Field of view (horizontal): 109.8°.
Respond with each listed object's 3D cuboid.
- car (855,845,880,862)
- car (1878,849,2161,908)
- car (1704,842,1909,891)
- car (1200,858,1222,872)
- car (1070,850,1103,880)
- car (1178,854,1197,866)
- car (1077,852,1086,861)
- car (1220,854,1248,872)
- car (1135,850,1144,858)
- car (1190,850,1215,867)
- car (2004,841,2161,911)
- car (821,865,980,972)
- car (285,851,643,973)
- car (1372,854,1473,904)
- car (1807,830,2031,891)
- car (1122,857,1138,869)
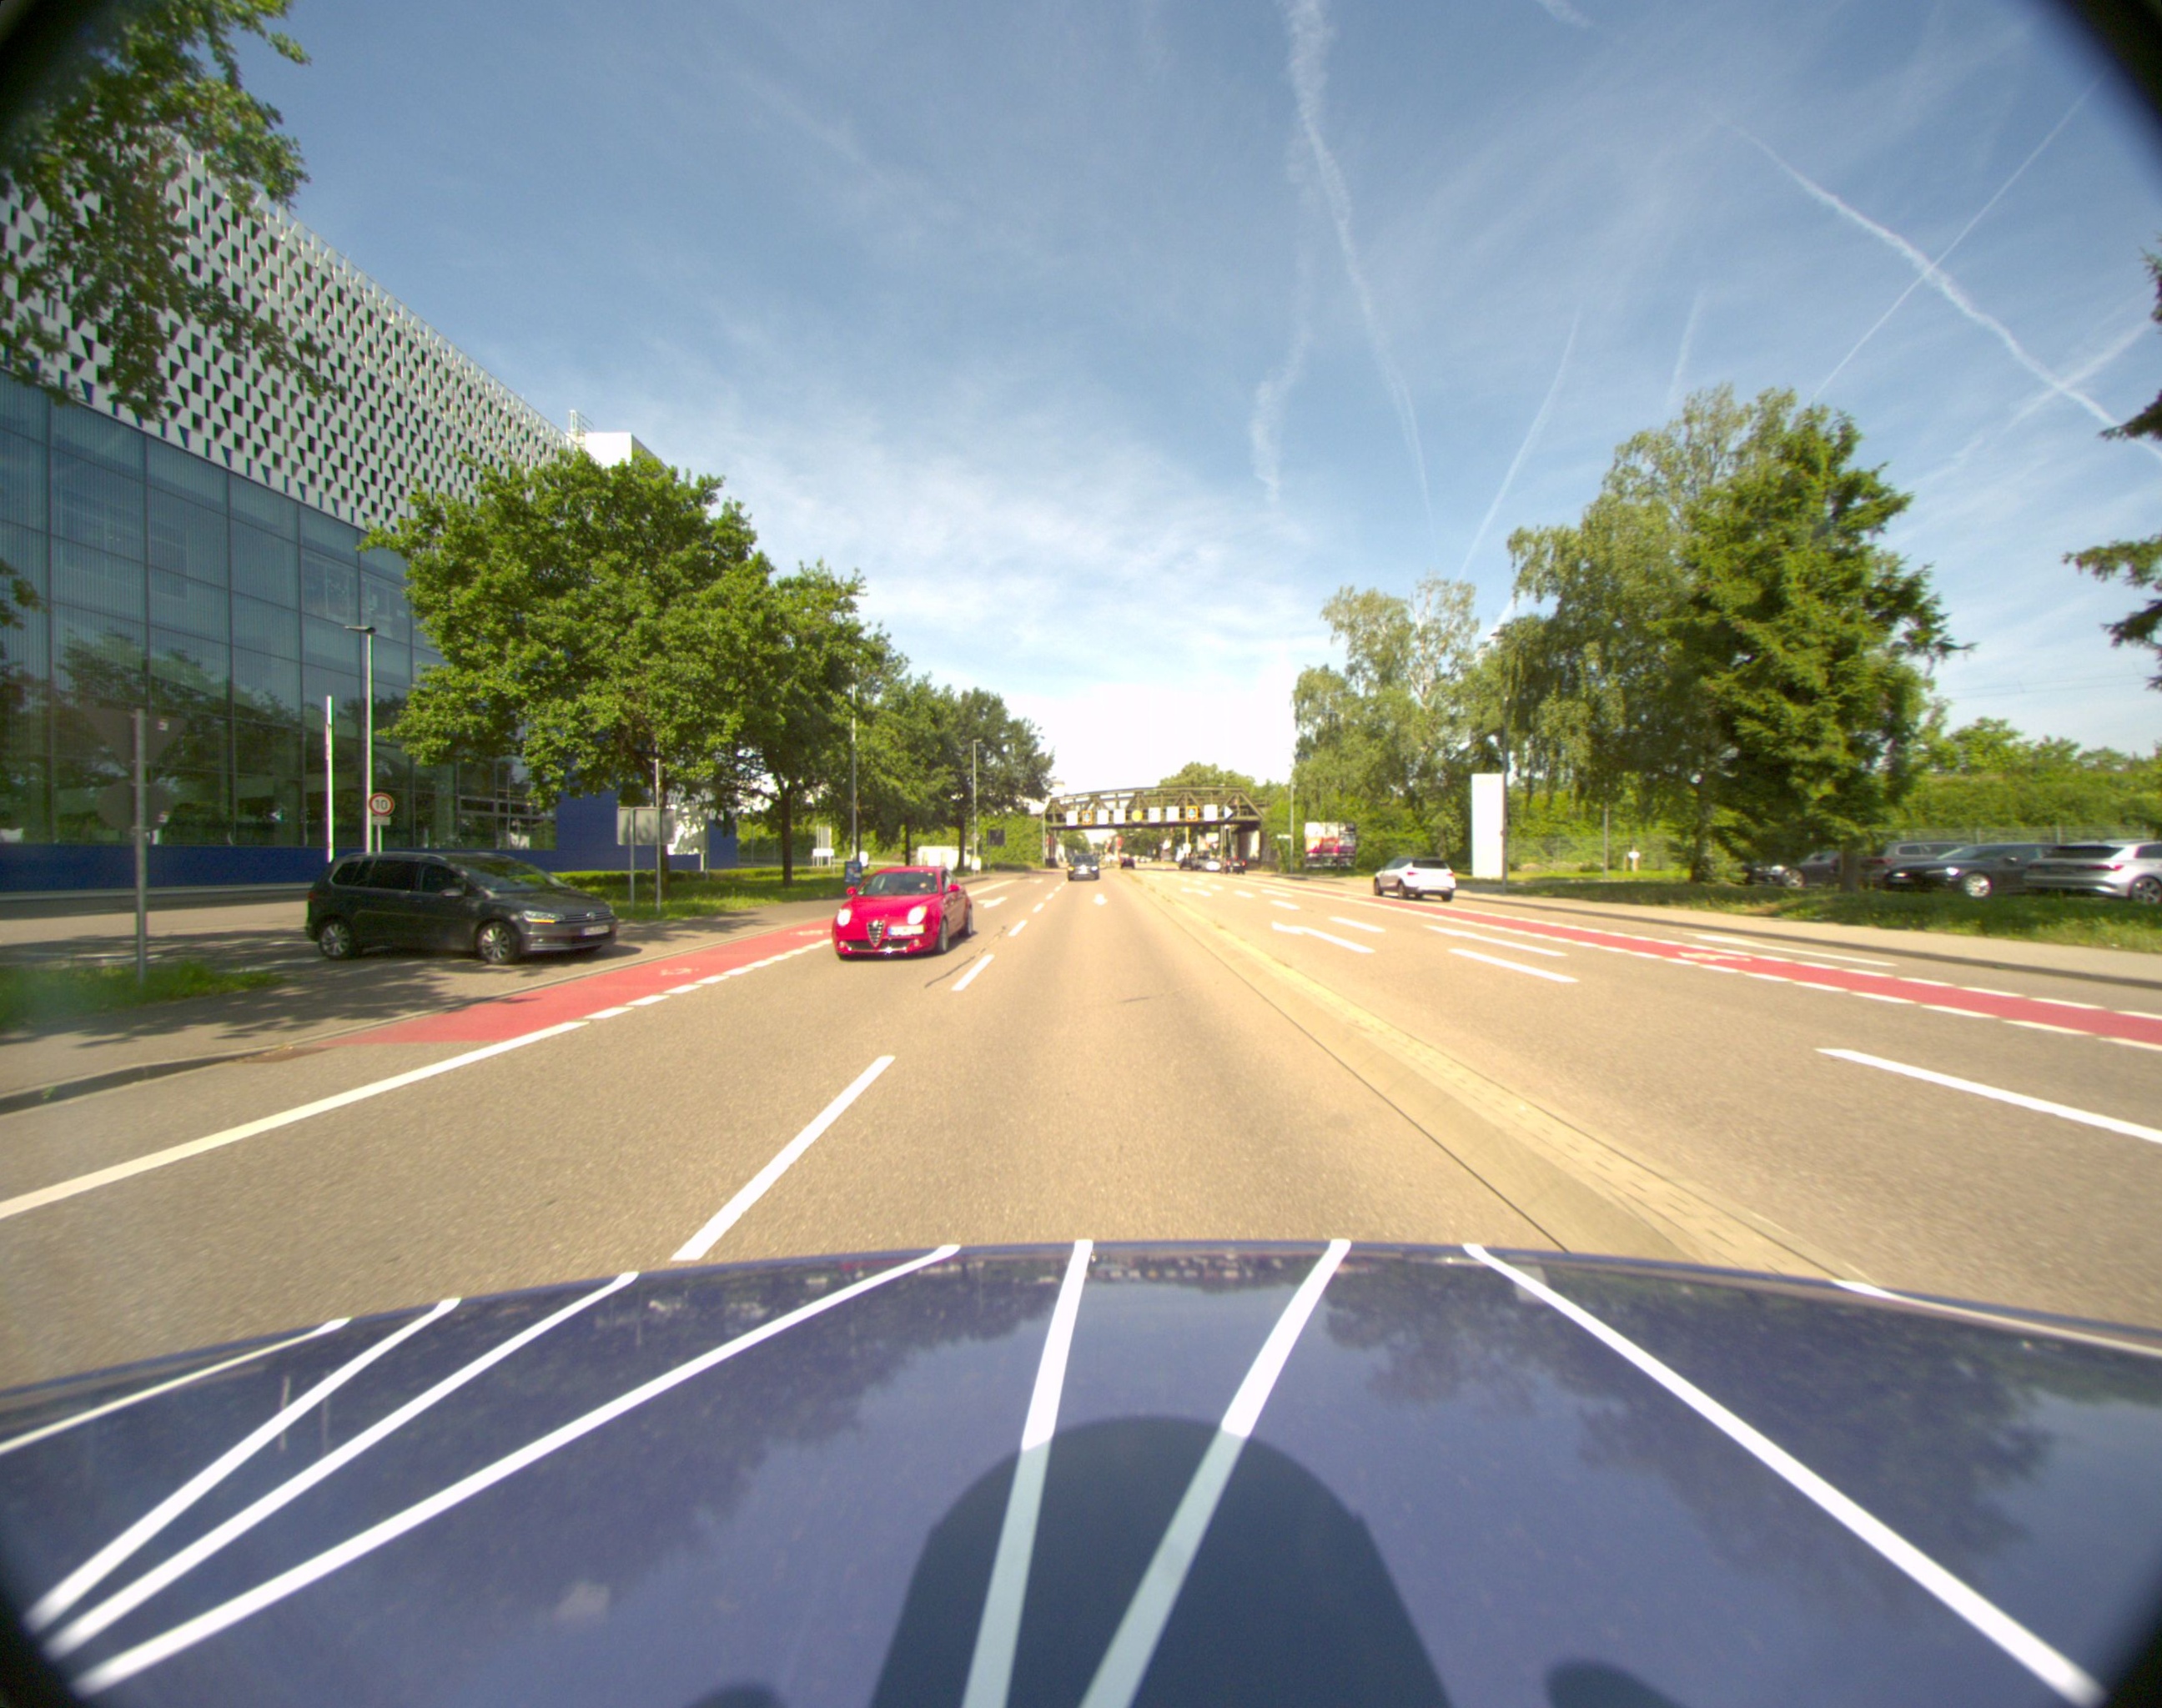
[{"bbox_3d":[-22.110,-0.018,78.715,1.856,1.629,4.301,-2,0,-8],"label":"car"},{"bbox_3d":[23.457,0.577,19.034,4.863,1.261,2.000,-2,0,1],"label":"car"},{"bbox_3d":[23.396,0.388,24.640,4.698,1.381,2.000,-2,0,1],"label":"car"},{"bbox_3d":[13.610,1.105,79.592,1.639,1.379,4.318,1,0,1],"label":"car"},{"bbox_3d":[0.377,0.639,45.334,1.824,1.632,4.112,-2,0,2],"label":"car"},{"bbox_3d":[13.858,0.740,99.126,1.877,1.586,4.387,0,0,0],"label":"car"},{"bbox_3d":[0.106,0.495,151.128,1.824,1.569,4.246,1,0,0],"label":"car"},{"bbox_3d":[13.406,0.787,66.723,1.702,1.510,4.027,1,0,0],"label":"car"},{"bbox_3d":[14.587,0.005,188.399,1.824,1.711,3.636,-2,0,-2],"label":"car"},{"bbox_3d":[13.824,0.499,86.771,1.998,1.850,5.450,2,0,0],"label":"car"},{"bbox_3d":[23.077,0.434,16.563,3.689,1.363,1.816,-2,0,1],"label":"car"},{"bbox_3d":[-2.956,0.991,13.311,1.798,1.446,3.978,-1,1,0],"label":"car"},{"bbox_3d":[-9.651,0.825,12.063,4.452,1.684,1.845,1,1,8],"label":"car"},{"bbox_3d":[12.101,0.825,27.231,1.998,1.608,4.105,1,0,5],"label":"car"},{"bbox_3d":[24.115,0.175,21.994,4.224,1.537,2.000,-2,0,1],"label":"car"},{"bbox_3d":[6.364,1.117,98.664,1.785,1.438,4.120,0,1,1],"label":"car"}]
